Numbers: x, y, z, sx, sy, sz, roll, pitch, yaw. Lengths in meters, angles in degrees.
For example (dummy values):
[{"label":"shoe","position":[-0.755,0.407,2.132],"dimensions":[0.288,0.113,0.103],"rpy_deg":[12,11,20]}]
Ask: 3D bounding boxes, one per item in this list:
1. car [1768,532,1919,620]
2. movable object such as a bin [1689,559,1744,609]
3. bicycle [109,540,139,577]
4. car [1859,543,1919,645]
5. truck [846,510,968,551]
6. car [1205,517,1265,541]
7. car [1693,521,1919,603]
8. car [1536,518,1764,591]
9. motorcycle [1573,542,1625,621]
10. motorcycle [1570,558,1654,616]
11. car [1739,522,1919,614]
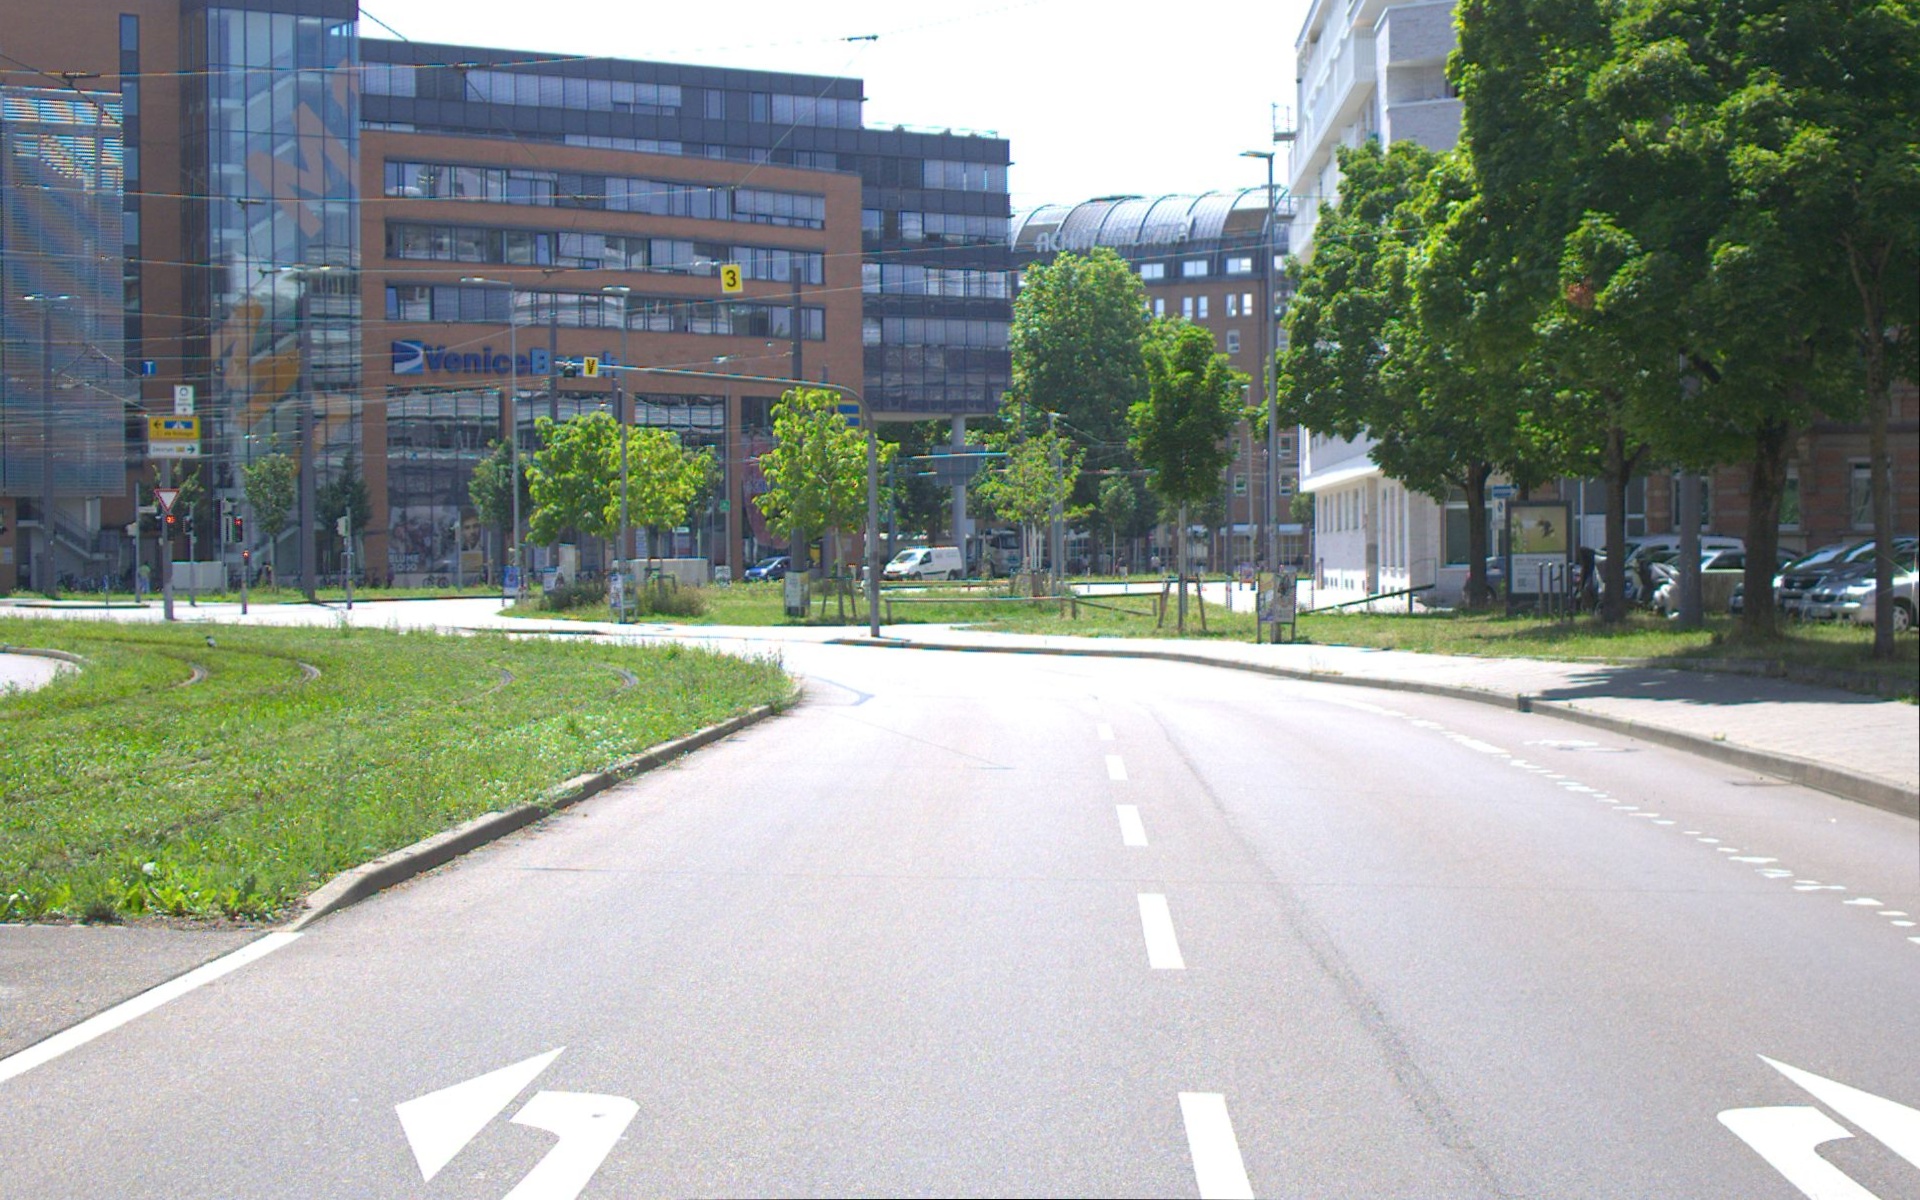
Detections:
[{"label":"car","position":[14.756,-0.371,53.089],"dimensions":[3.986,1.309,1.973],"rpy_deg":[0,1,-20]},{"label":"movable object such as a bin","position":[14.223,-0.304,64.613],"dimensions":[0.986,0.934,0.701],"rpy_deg":[1,1,13]},{"label":"bicycle","position":[-39.267,-1.957,161.437],"dimensions":[0.598,1.725,2.260],"rpy_deg":[0,1,-34]},{"label":"car","position":[14.559,-0.077,45.449],"dimensions":[4.770,1.309,2.150],"rpy_deg":[0,1,-20]},{"label":"truck","position":[-3.791,-4.974,245.523],"dimensions":[9.228,2.799,1.996],"rpy_deg":[1,1,34]},{"label":"car","position":[20.008,-5.186,250.141],"dimensions":[3.994,1.722,1.863],"rpy_deg":[1,1,33]},{"label":"car","position":[14.792,-0.647,58.682],"dimensions":[4.333,1.371,1.583],"rpy_deg":[0,1,-24]},{"label":"car","position":[15.505,-1.019,77.200],"dimensions":[4.857,1.595,1.836],"rpy_deg":[0,1,-25]},{"label":"motorcycle","position":[11.784,-0.351,63.402],"dimensions":[0.675,1.408,1.856],"rpy_deg":[-2,1,3]},{"label":"motorcycle","position":[12.650,-0.251,66.720],"dimensions":[1.520,1.116,0.478],"rpy_deg":[1,1,2]},{"label":"car","position":[14.938,-0.521,56.131],"dimensions":[4.078,1.465,1.798],"rpy_deg":[0,1,-25]}]
